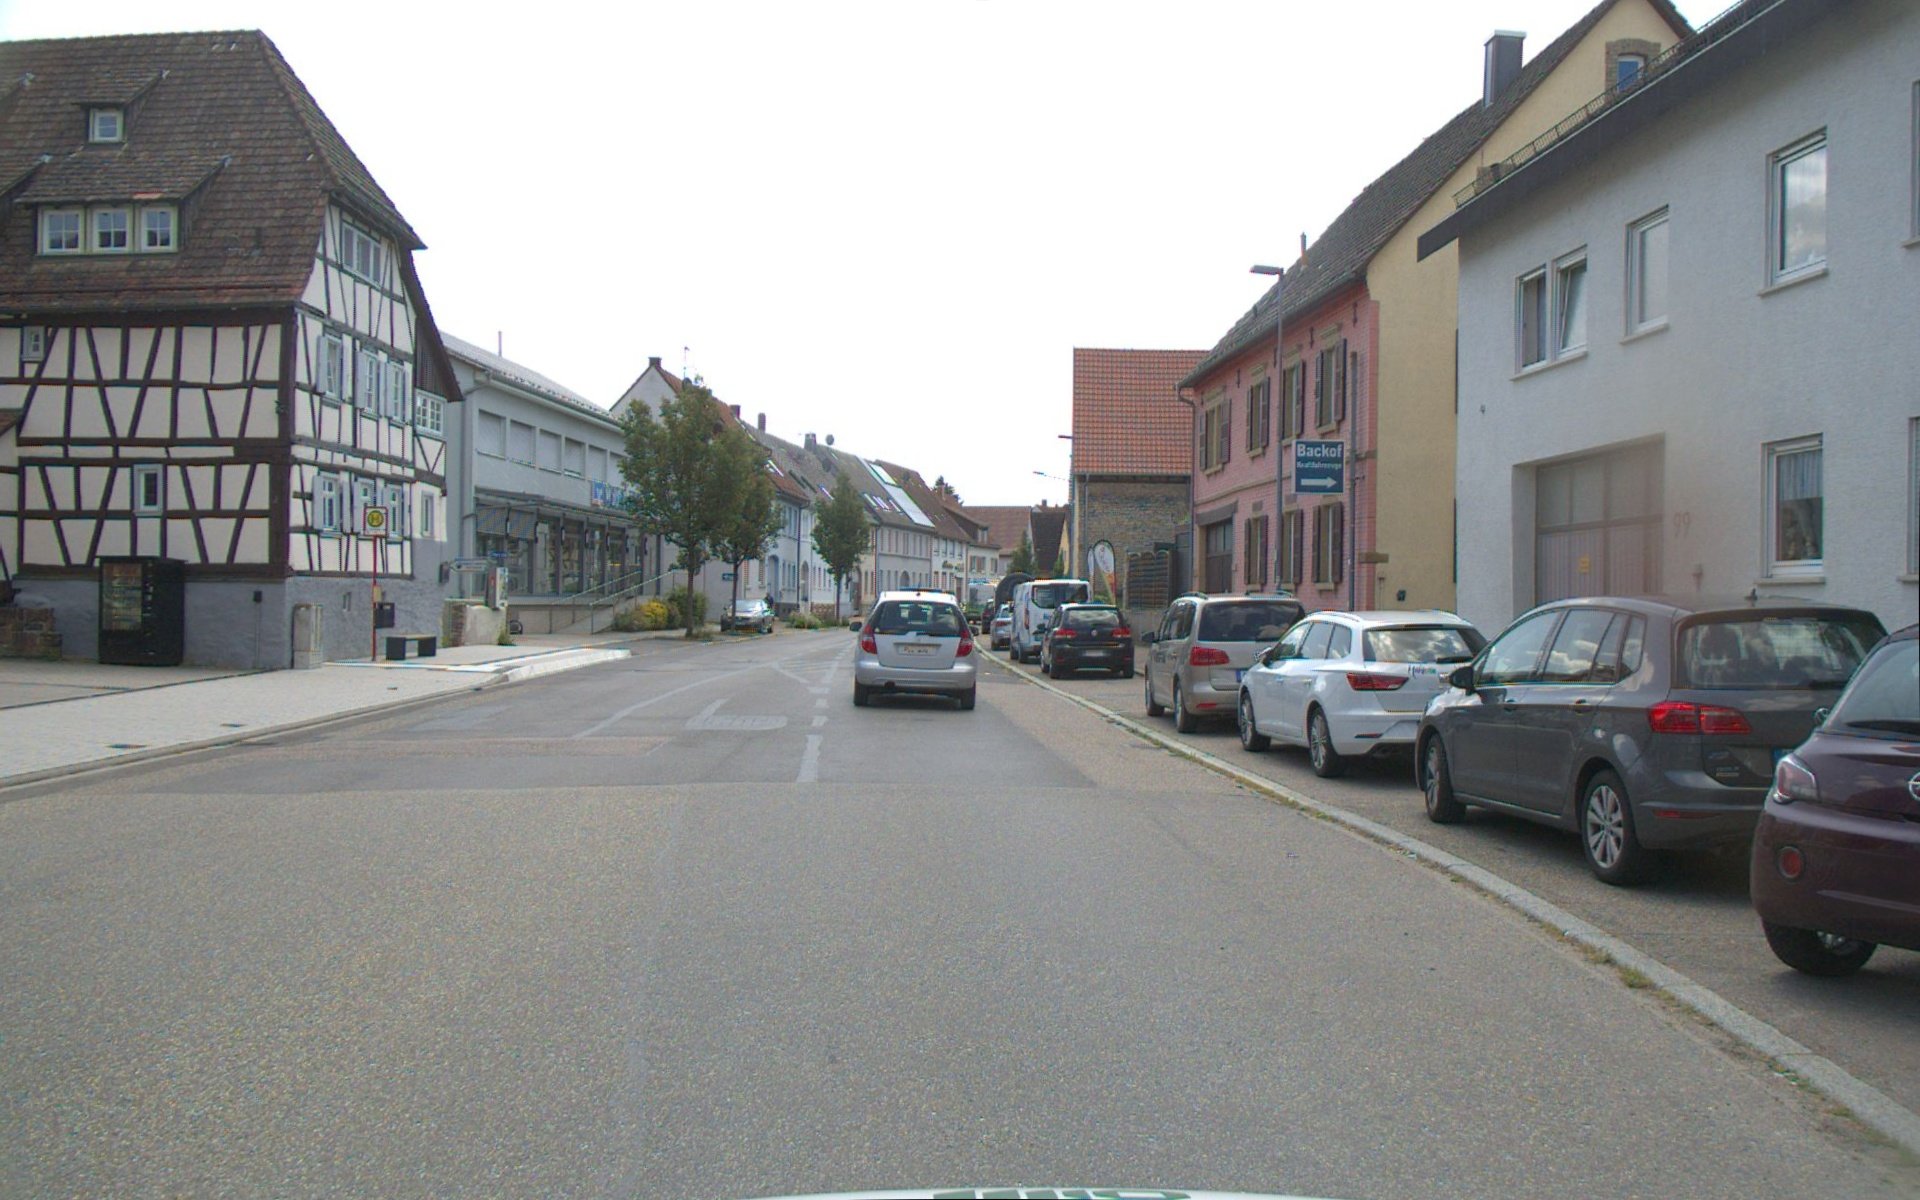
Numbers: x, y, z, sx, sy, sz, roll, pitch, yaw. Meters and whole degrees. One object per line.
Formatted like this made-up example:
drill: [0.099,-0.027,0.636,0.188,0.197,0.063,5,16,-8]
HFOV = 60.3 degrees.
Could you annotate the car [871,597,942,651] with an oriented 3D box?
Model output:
car: [-1.532,0.658,46.920,1.906,1.432,3.998,1,0,-2]

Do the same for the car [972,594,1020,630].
car: [1.638,0.538,76.373,1.953,1.586,3.998,-1,0,-2]

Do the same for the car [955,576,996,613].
car: [0.996,-0.309,105.263,2.188,2.261,4.003,0,-1,7]

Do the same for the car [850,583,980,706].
car: [-0.695,0.622,24.521,1.733,1.622,3.998,2,-1,-3]

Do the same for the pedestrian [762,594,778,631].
pedestrian: [-9.289,0.618,80.774,0.724,1.833,0.642,0,-1,-1]

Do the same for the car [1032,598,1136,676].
car: [2.520,0.737,34.520,1.739,1.521,4.160,1,0,-2]

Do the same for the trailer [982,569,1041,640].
trailer: [1.747,0.153,57.240,1.808,2.395,3.587,0,0,-2]

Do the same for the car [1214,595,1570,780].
car: [3.984,0.743,16.094,1.955,1.544,4.366,1,0,-6]

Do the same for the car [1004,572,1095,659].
car: [2.214,0.380,41.991,1.854,2.017,4.929,-1,0,-2]

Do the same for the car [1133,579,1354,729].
car: [3.477,0.623,21.112,1.953,1.710,4.321,1,0,-2]

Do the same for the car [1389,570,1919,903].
car: [4.169,0.686,10.402,1.629,1.653,4.269,0,0,-3]

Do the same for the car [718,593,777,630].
car: [-8.924,0.466,69.653,1.767,1.486,4.159,2,0,2]

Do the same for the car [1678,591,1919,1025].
car: [4.715,0.746,6.730,3.193,1.531,1.807,1,0,-31]

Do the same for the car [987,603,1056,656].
car: [1.873,0.889,51.946,1.837,1.507,4.673,2,0,-2]

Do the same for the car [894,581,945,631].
car: [-1.643,0.281,68.651,1.732,1.920,4.448,3,-1,2]
